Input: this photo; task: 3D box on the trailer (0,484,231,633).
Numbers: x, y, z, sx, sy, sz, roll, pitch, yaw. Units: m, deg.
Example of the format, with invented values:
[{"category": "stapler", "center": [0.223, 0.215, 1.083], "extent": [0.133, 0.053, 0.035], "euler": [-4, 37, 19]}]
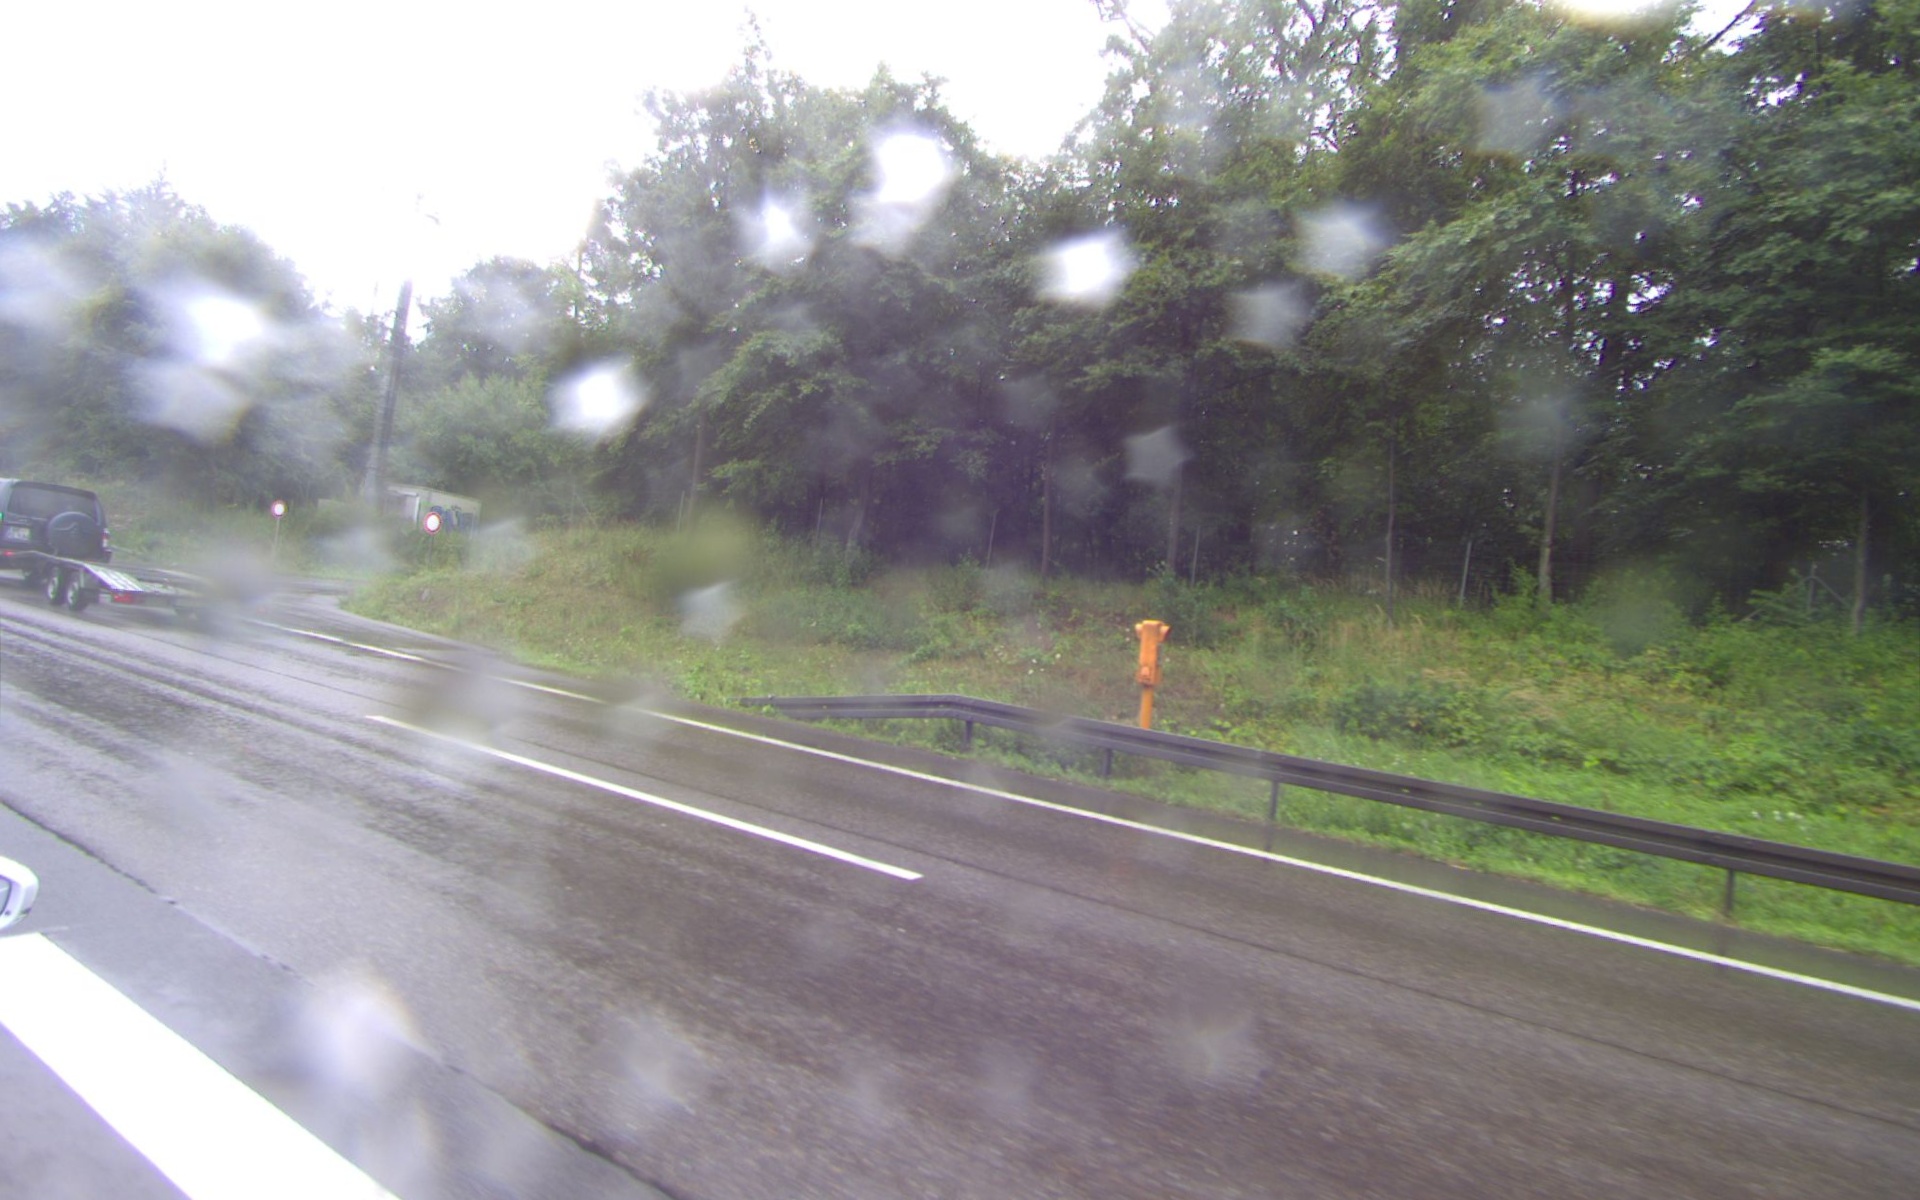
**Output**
[{"category": "trailer", "center": [-13.620, -0.727, 15.480], "extent": [5.002, 1.734, 2.246], "euler": [7, -2, 35]}]
